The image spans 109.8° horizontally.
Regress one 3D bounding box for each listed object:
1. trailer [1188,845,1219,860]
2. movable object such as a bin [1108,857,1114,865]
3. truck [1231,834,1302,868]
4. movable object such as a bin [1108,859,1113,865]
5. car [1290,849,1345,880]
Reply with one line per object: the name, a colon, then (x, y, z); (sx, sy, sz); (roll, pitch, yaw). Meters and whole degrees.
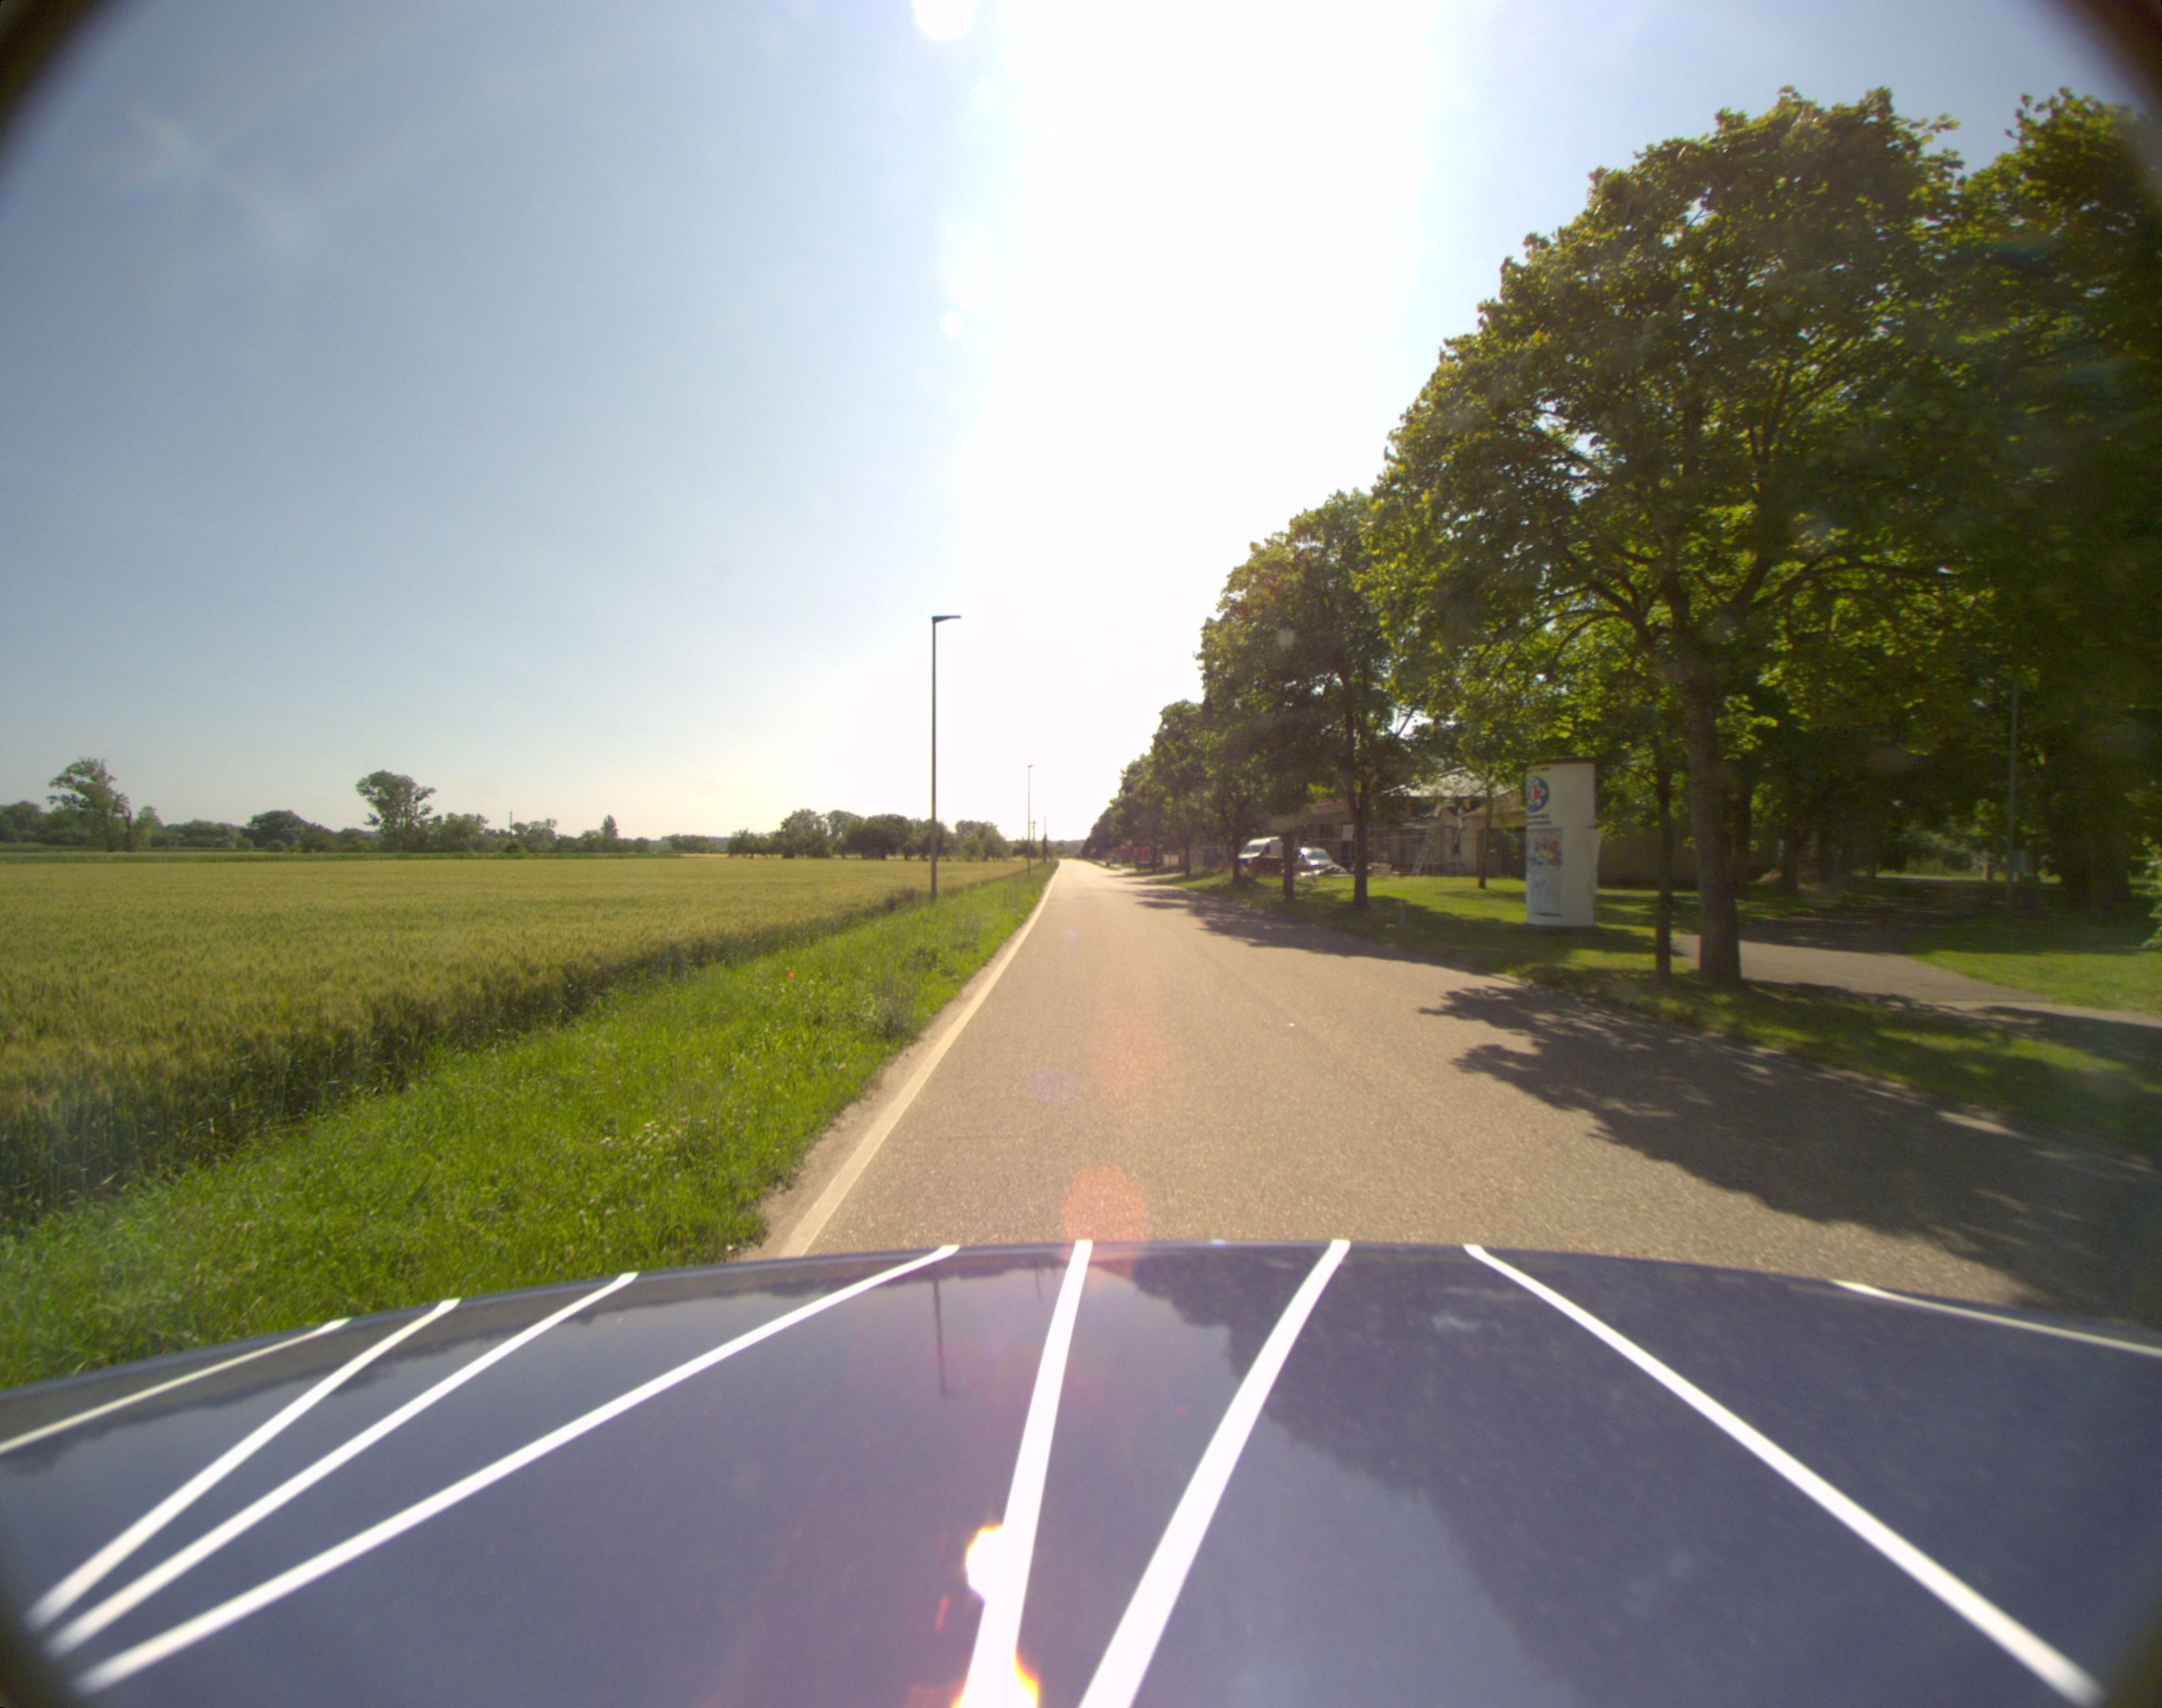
trailer: (18.716, -0.181, 115.975); (4.240, 2.264, 1.826); (1, 0, -14)
movable object such as a bin: (3.936, 0.966, 99.313); (0.700, 1.018, 0.748); (1, 1, 7)
truck: (14.292, -0.235, 58.259); (5.943, 2.469, 1.994); (-1, 1, -38)
movable object such as a bin: (3.879, 1.047, 98.613); (0.563, 0.872, 0.614); (1, 1, 7)
car: (14.463, 0.598, 46.691); (1.976, 1.827, 4.327); (-1, 0, -1)
